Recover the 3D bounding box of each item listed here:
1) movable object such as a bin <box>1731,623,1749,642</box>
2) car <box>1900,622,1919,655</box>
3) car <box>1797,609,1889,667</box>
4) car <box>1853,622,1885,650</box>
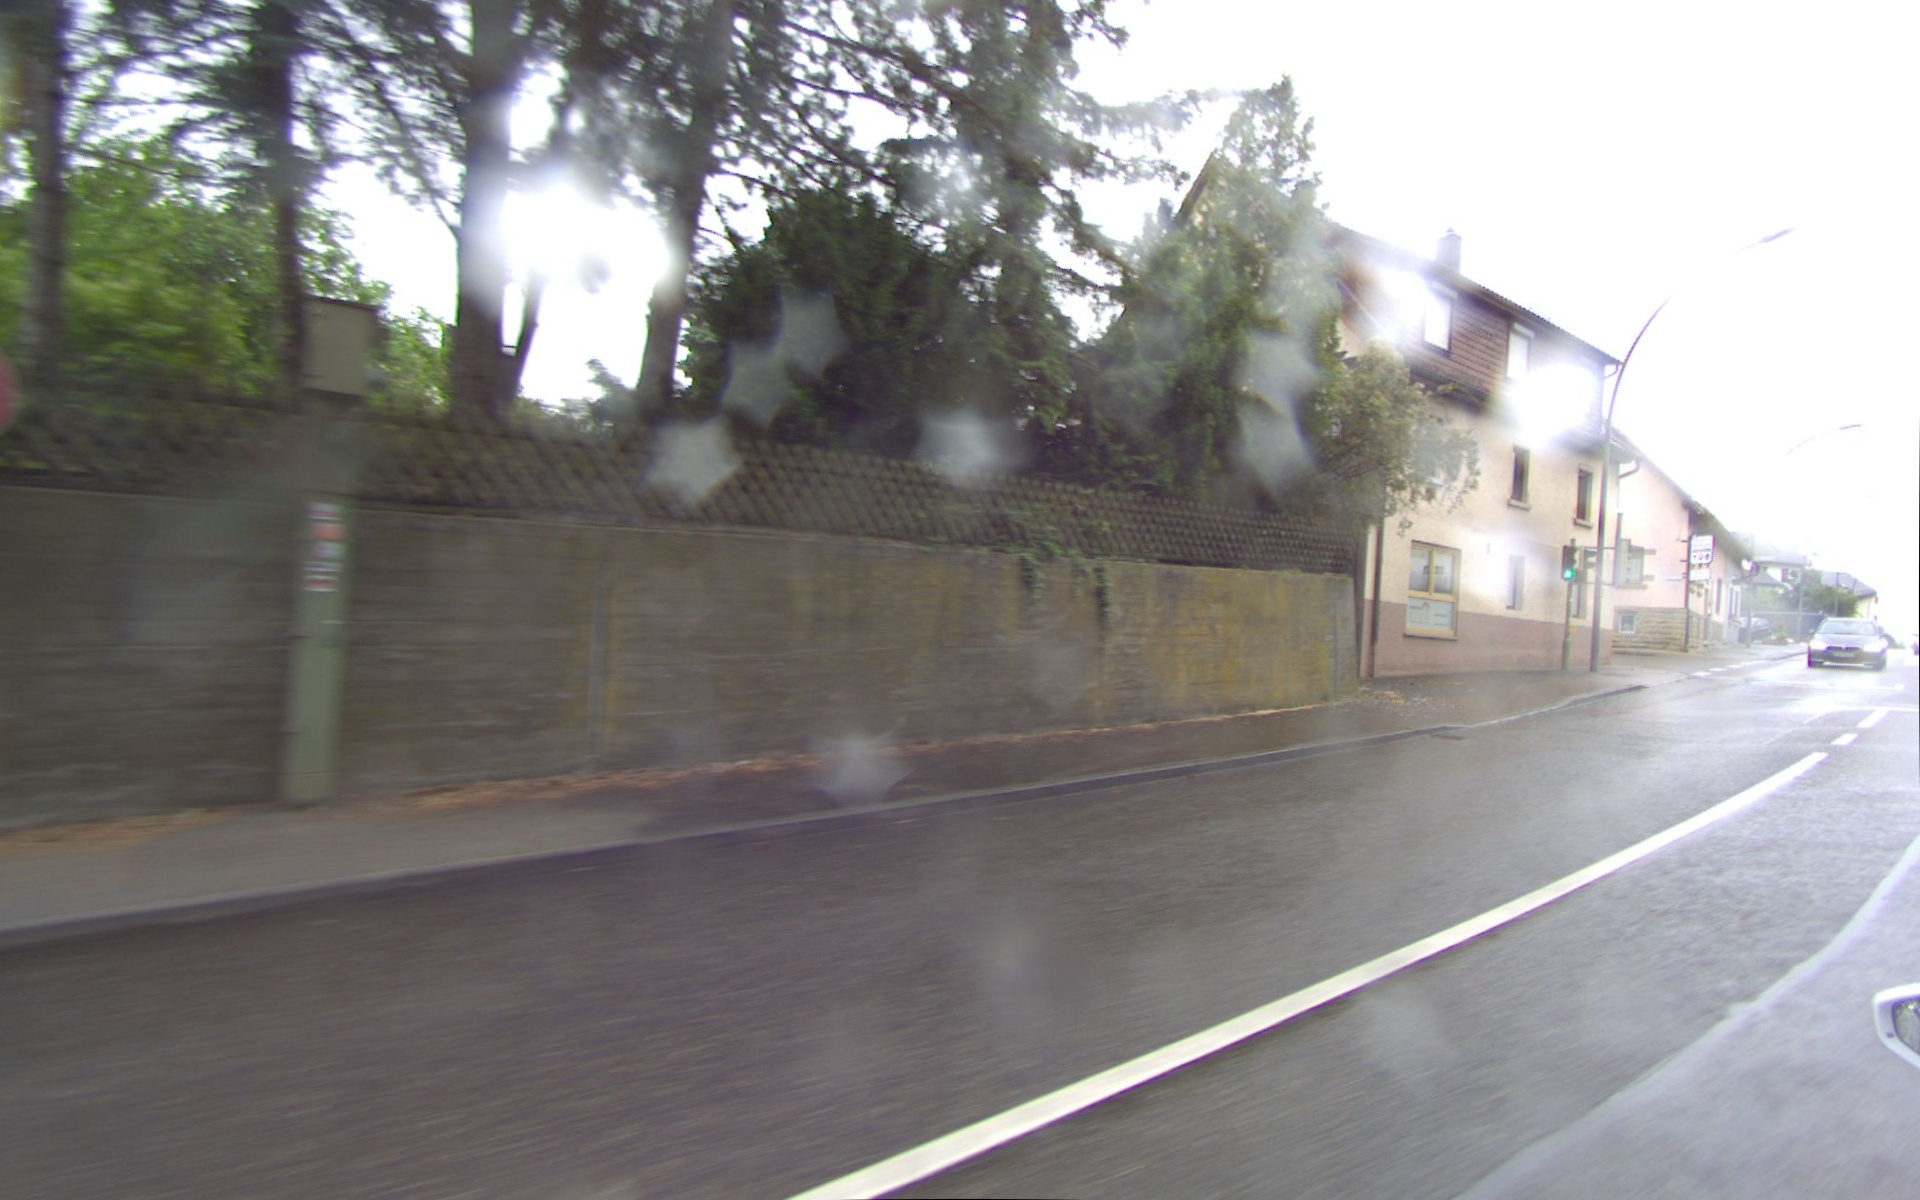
[{"bbox_3d":[44.450,1.864,57.221,0.666,1.046,0.634,2,-1,-33],"label":"movable object such as a bin"},{"bbox_3d":[47.934,1.896,49.470,1.919,1.595,4.209,1,0,37],"label":"car"},{"bbox_3d":[28.384,1.186,32.248,1.973,1.728,3.975,1,-1,45],"label":"car"},{"bbox_3d":[95.686,3.835,105.704,5.881,2.684,2.073,4,0,-45],"label":"car"}]
